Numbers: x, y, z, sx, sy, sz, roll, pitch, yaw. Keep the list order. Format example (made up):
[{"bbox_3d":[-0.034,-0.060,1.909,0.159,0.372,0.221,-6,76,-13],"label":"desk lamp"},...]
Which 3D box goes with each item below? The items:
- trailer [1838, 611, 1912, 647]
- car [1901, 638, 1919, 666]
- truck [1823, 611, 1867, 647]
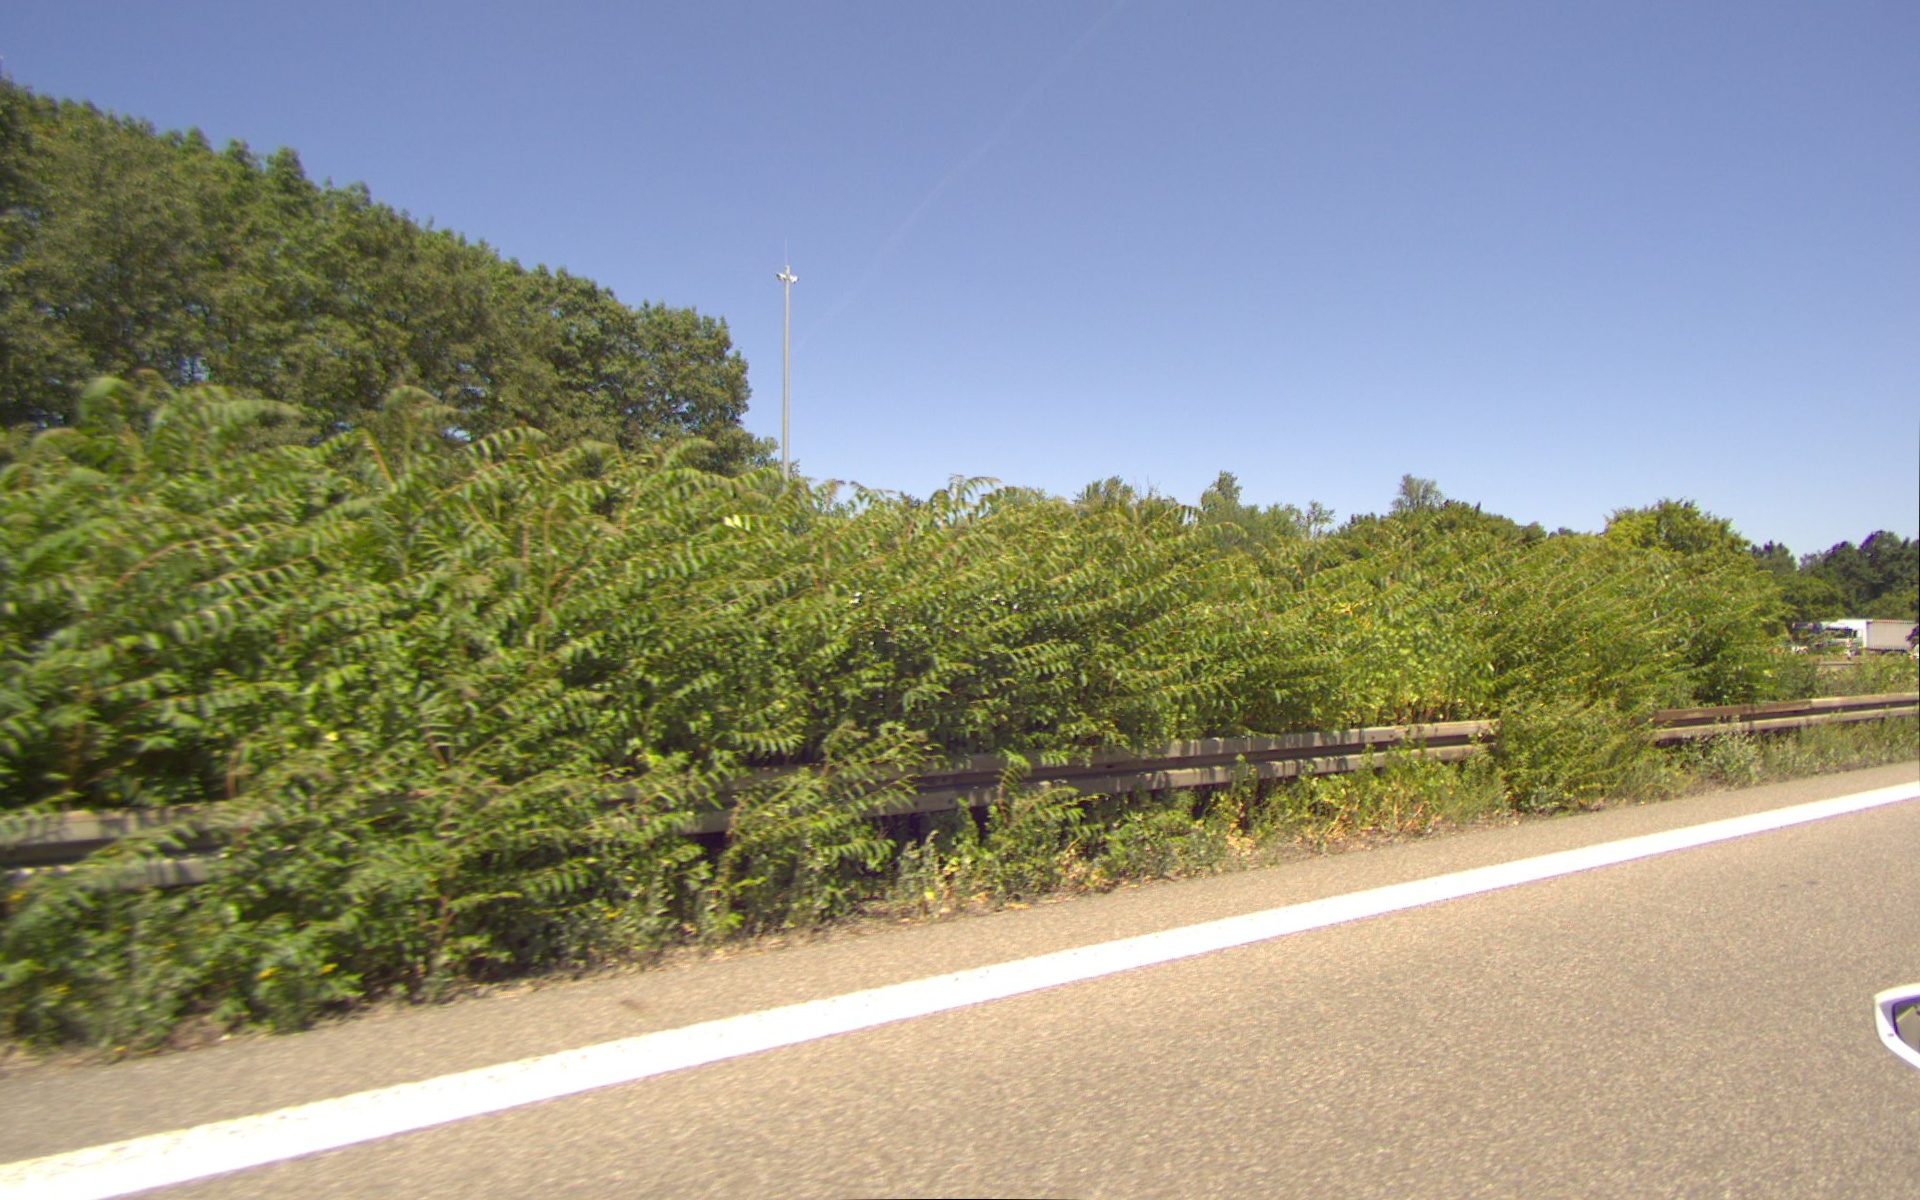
[{"bbox_3d":[102.453,3.298,112.392,10.560,3.921,2.284,1,-1,-25],"label":"trailer"},{"bbox_3d":[52.844,2.814,54.344,4.224,1.484,1.831,2,-2,-32],"label":"car"},{"bbox_3d":[96.648,3.173,109.699,3.750,3.921,2.249,1,-1,-25],"label":"truck"}]
